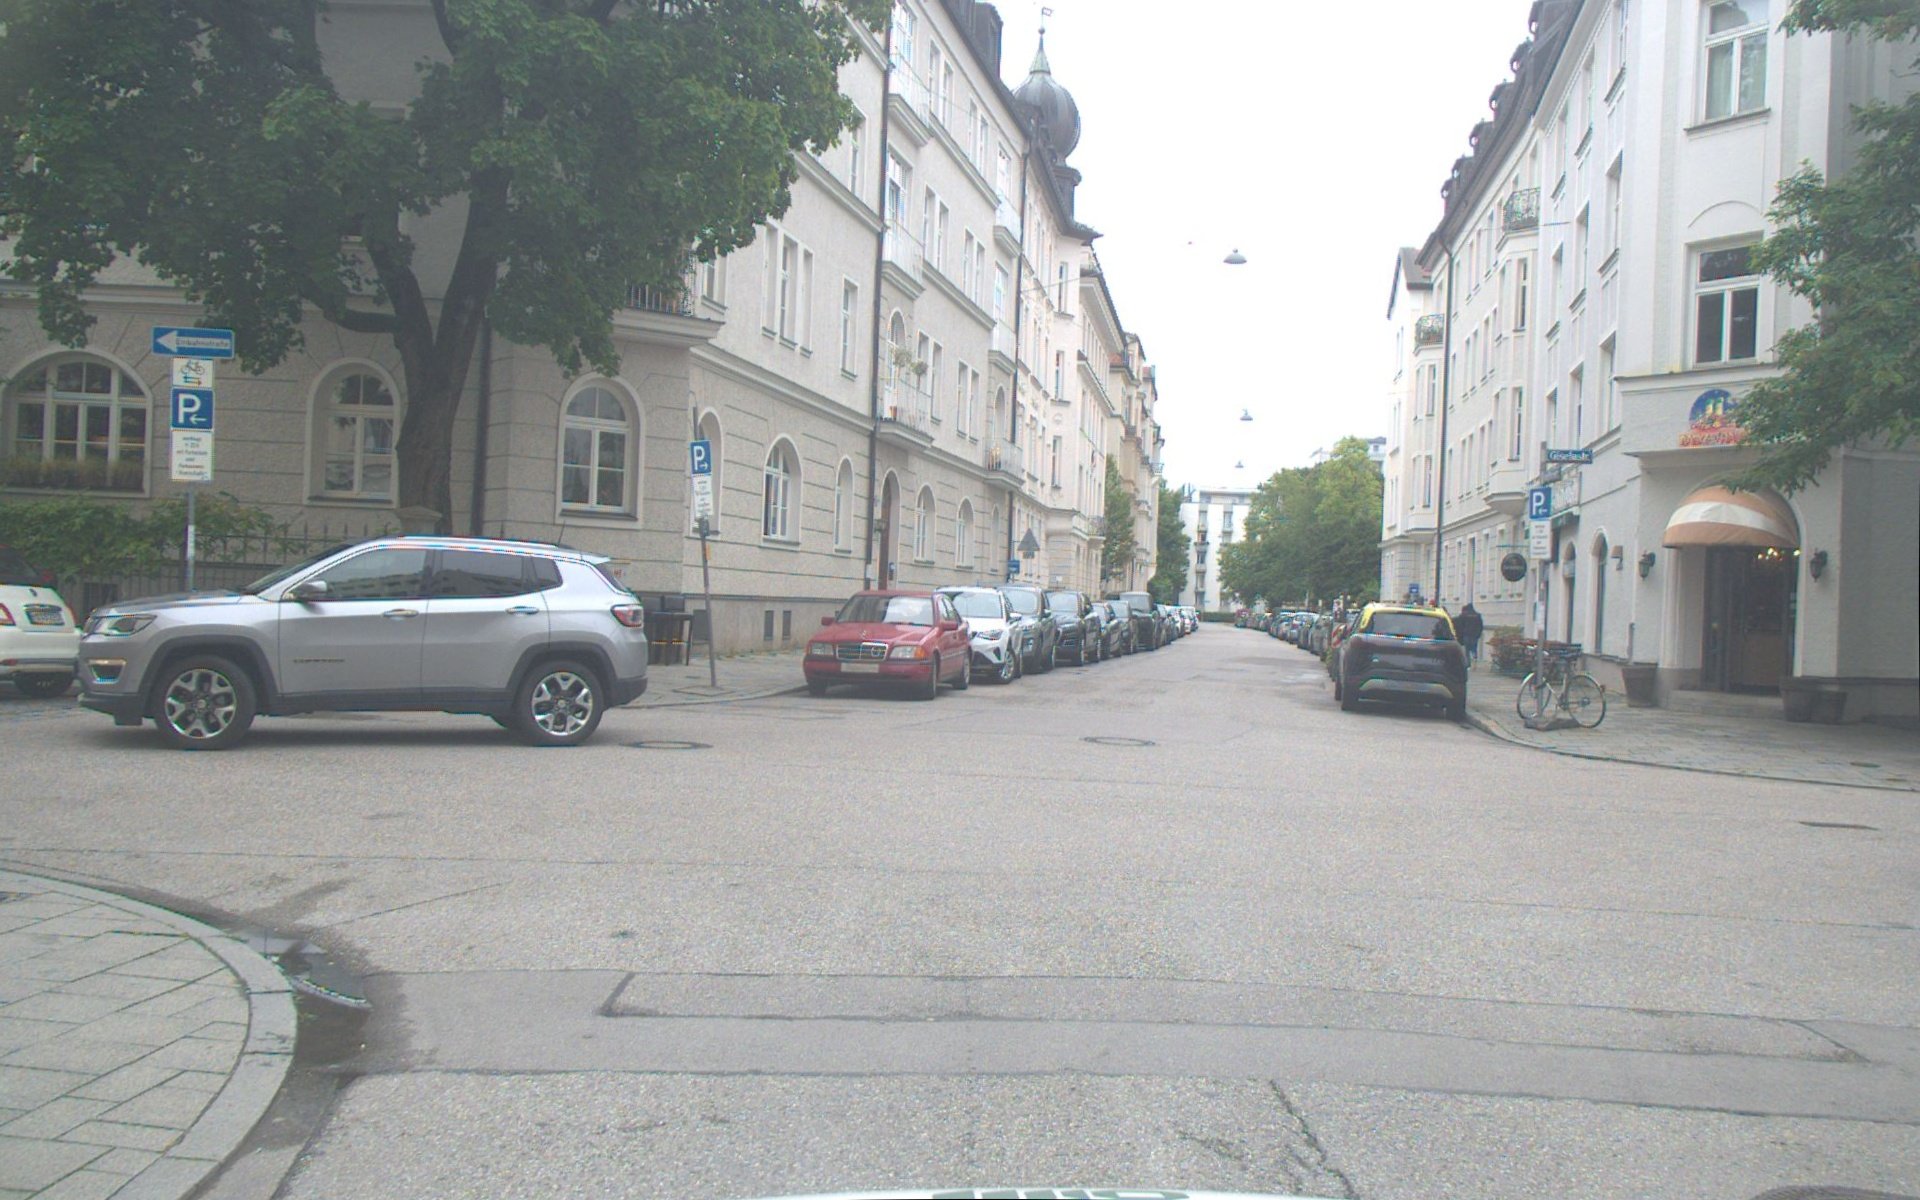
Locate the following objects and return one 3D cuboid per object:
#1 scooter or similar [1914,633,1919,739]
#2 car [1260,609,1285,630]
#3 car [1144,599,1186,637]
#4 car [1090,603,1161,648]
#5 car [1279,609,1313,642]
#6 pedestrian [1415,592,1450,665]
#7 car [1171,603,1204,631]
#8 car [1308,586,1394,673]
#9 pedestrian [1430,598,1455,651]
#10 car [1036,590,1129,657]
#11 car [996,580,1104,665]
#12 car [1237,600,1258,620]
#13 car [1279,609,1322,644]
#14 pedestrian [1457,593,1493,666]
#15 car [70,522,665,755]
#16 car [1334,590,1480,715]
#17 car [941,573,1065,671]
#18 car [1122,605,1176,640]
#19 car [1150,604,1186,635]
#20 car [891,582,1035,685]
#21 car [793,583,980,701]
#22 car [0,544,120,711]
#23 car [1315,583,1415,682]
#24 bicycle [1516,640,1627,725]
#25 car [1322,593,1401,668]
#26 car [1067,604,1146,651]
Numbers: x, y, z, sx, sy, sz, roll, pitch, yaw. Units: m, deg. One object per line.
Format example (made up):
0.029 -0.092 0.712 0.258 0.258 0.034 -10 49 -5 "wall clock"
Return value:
12.285 1.061 20.704 0.420 1.301 1.274 3 2 35 "scooter or similar"
26.219 1.655 138.756 1.908 1.681 4.003 1 0 8 "car"
9.550 0.815 76.857 1.782 1.601 4.003 2 0 8 "car"
5.444 0.801 53.967 1.866 1.352 4.003 2 0 11 "car"
22.688 1.689 111.669 1.951 2.016 4.897 3 0 9 "car"
12.646 0.754 44.278 0.761 1.883 1.024 2 0 12 "pedestrian"
14.233 1.044 103.617 1.951 1.601 4.003 2 0 8 "car"
9.835 0.717 41.844 1.781 1.956 4.187 4 1 11 "car"
17.356 0.877 59.463 0.762 1.883 0.859 2 0 18 "pedestrian"
3.264 0.594 43.442 1.885 1.573 4.003 3 0 12 "car"
2.083 0.475 37.105 1.951 1.705 4.292 2 0 9 "car"
30.887 1.049 177.720 1.951 2.016 4.897 3 0 7 "car"
17.152 1.301 83.384 1.866 1.603 4.003 2 0 8 "car"
13.567 0.771 43.590 0.761 1.883 1.024 2 0 12 "pedestrian"
-4.745 0.307 13.439 4.243 1.635 1.947 2 0 -27 "car"
6.958 0.761 26.122 1.781 1.664 4.292 4 1 11 "car"
0.917 0.400 32.432 1.951 1.705 4.015 2 0 7 "car"
7.512 0.883 65.448 1.866 1.243 4.003 2 0 10 "car"
10.410 0.940 82.762 1.697 1.444 4.003 2 0 8 "car"
0.137 0.514 27.674 1.951 1.499 4.221 2 0 5 "car"
-0.901 0.524 22.734 1.694 1.402 4.230 2 0 9 "car"
-10.334 0.146 15.603 3.904 1.474 1.686 3 0 3 "car"
8.816 0.670 36.277 1.781 1.903 4.292 4 1 11 "car"
8.158 1.083 22.121 0.530 1.016 1.750 -1 1 -12 "bicycle"
11.182 0.805 46.227 1.951 1.889 4.348 3 0 13 "car"
4.403 0.788 49.287 1.866 1.243 4.003 2 0 11 "car"
